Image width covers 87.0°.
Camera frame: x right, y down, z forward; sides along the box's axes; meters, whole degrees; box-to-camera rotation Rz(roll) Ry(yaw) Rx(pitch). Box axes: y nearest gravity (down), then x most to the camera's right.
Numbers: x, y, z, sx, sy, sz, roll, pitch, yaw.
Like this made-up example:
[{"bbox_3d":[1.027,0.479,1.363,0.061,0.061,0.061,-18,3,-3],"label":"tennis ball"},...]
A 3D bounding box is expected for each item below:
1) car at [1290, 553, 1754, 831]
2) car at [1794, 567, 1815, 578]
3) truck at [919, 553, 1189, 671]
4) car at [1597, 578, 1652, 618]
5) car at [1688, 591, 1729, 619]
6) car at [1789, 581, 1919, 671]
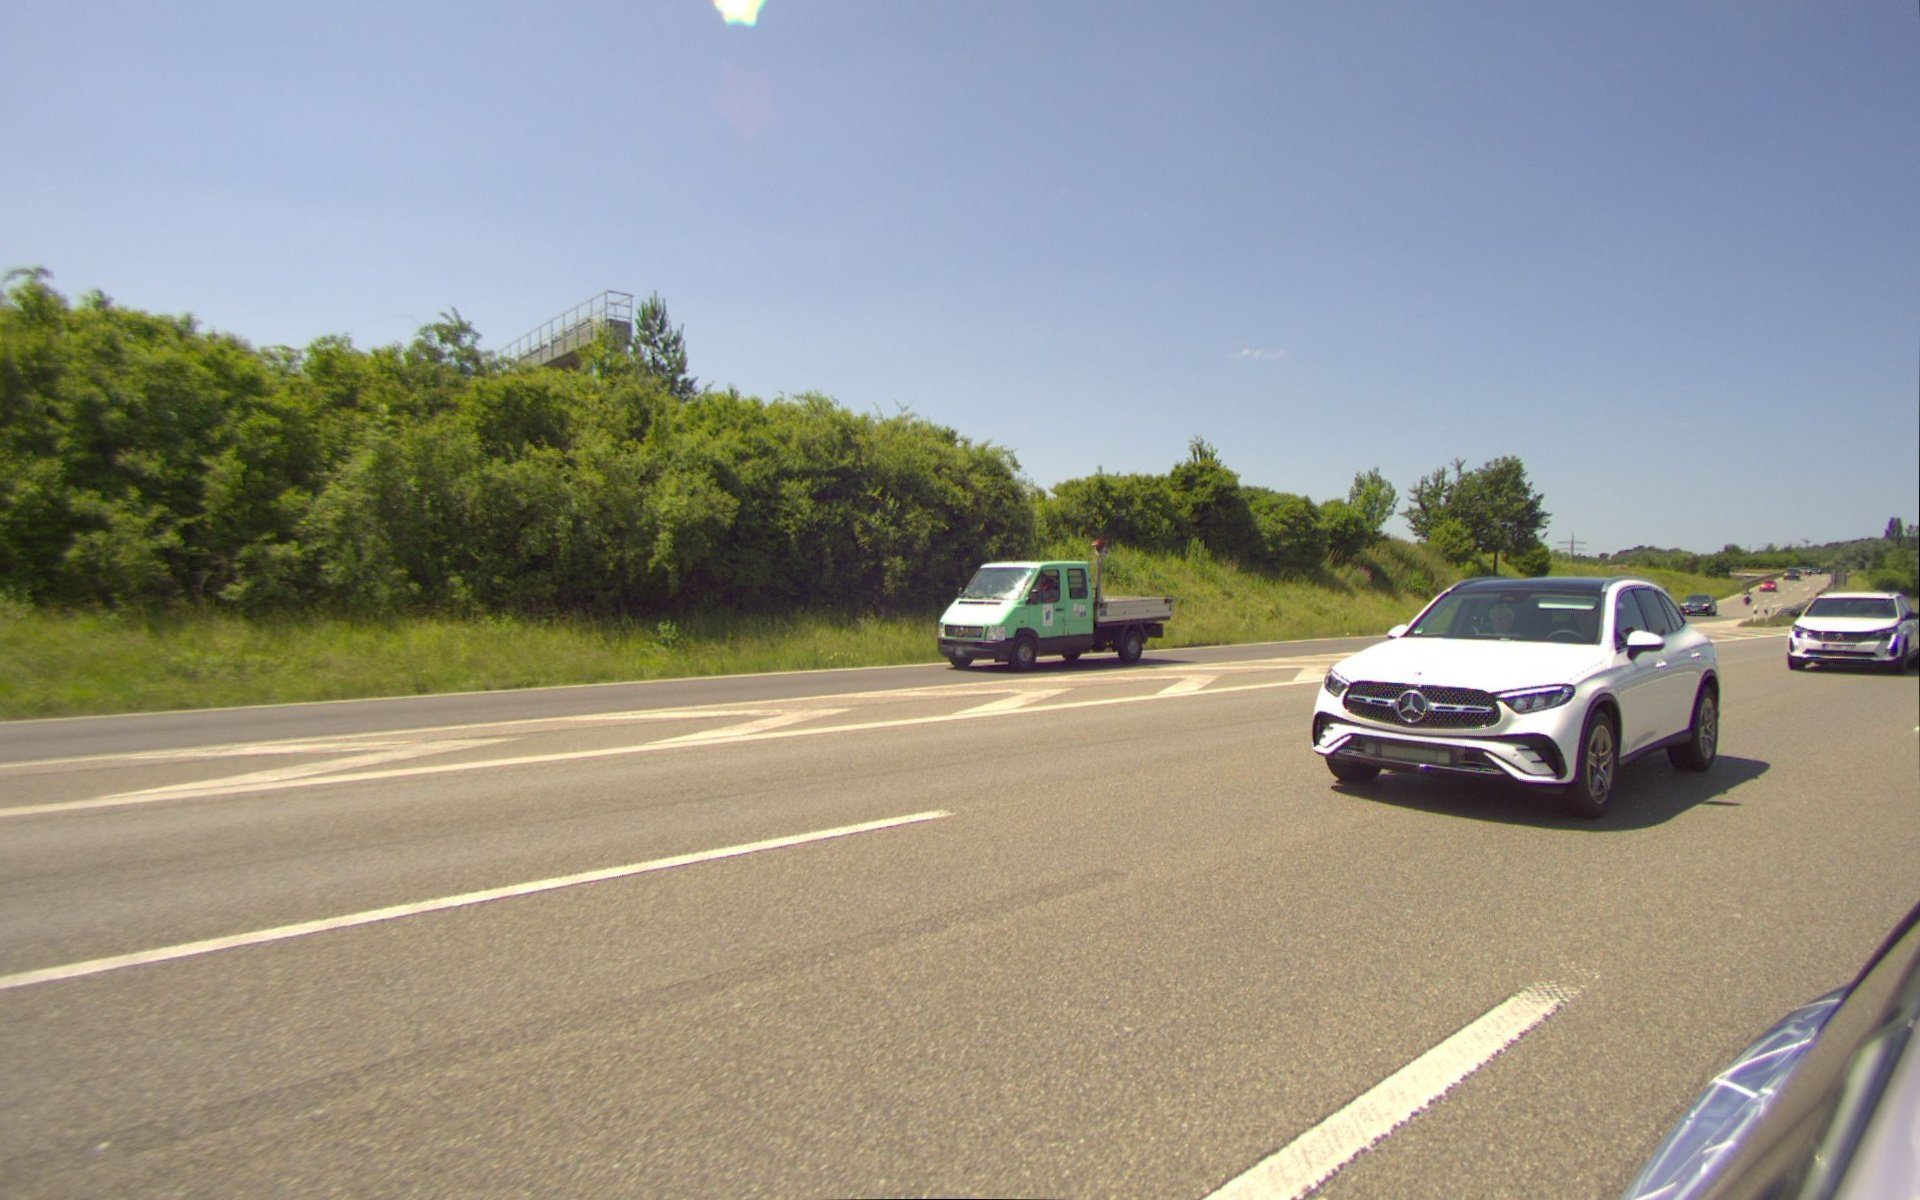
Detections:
[{"bbox_3d":[4.803,0.515,8.333,4.556,1.676,1.908,-1,1,-41],"label":"car"},{"bbox_3d":[136.494,-4.450,163.534,4.539,1.650,1.980,-2,1,-43],"label":"car"},{"bbox_3d":[2.129,0.167,21.118,6.016,2.118,2.167,-1,2,-43],"label":"truck"},{"bbox_3d":[38.746,-0.127,58.928,1.992,2.199,4.819,1,1,42],"label":"car"},{"bbox_3d":[58.177,0.407,78.650,3.935,2.039,1.995,-2,1,-44],"label":"car"},{"bbox_3d":[19.144,0.458,21.323,4.538,1.650,1.896,-2,1,-42],"label":"car"}]
